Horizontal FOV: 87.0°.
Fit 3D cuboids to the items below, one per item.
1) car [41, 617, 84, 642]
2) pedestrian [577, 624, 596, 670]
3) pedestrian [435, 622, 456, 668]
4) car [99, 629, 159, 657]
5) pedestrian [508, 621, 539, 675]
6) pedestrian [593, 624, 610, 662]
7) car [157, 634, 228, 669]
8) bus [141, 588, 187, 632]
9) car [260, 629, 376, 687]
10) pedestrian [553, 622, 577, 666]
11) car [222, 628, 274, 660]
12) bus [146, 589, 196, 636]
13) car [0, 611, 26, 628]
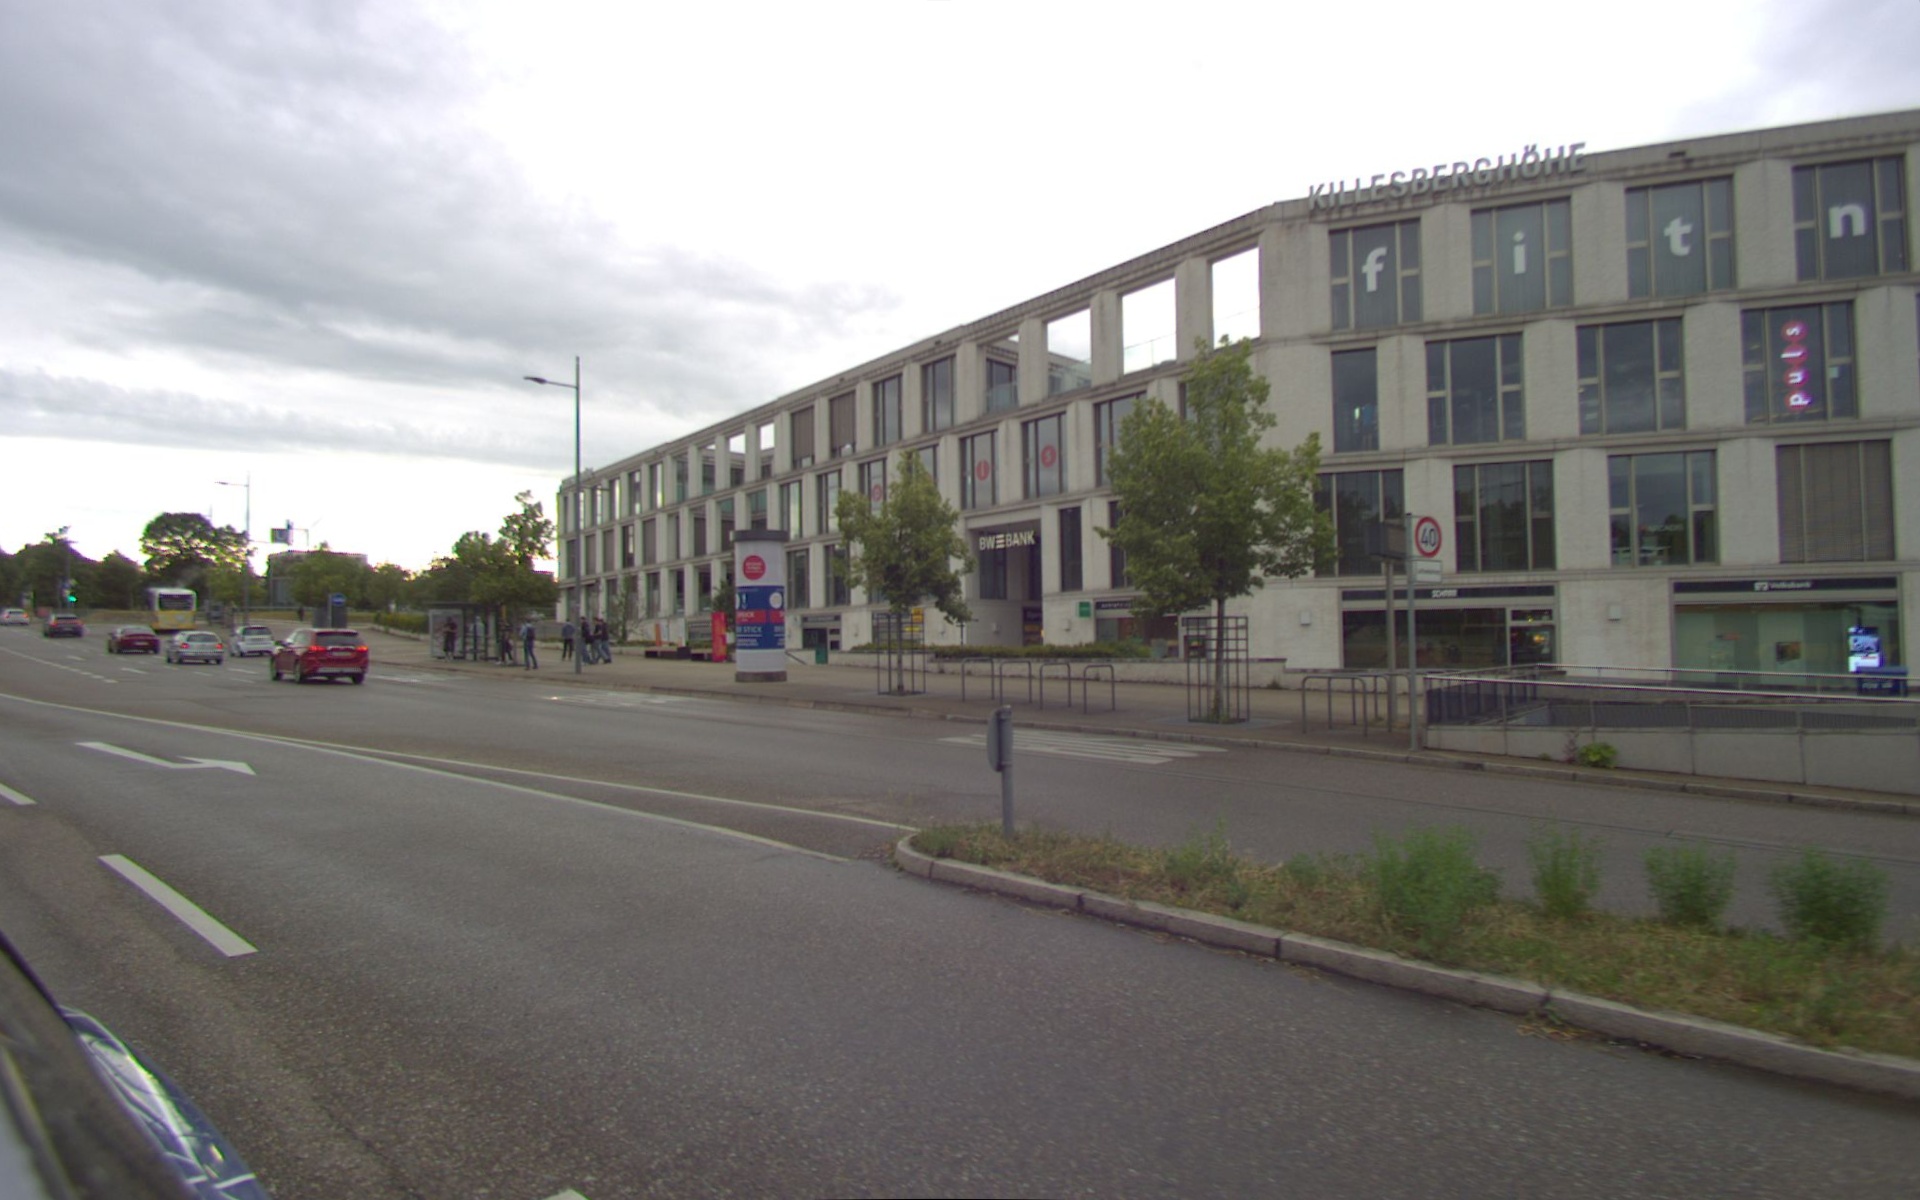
[{"bbox_3d":[-64.599,2.113,72.812,4.593,1.584,1.812,0,-4,43],"label":"car"},{"bbox_3d":[-14.245,1.784,38.571,0.621,1.738,0.421,-1,-2,43],"label":"pedestrian"},{"bbox_3d":[-21.205,1.855,41.689,0.755,1.856,0.502,-1,-2,42],"label":"pedestrian"},{"bbox_3d":[-44.471,2.282,54.131,4.465,1.427,1.812,-2,-5,43],"label":"car"},{"bbox_3d":[-15.272,1.667,35.390,0.747,1.856,0.744,-1,-2,45],"label":"pedestrian"},{"bbox_3d":[-14.132,1.694,39.891,0.510,1.462,0.421,-1,-2,43],"label":"pedestrian"},{"bbox_3d":[-33.607,2.229,44.258,3.878,1.427,1.743,-2,-5,43],"label":"car"},{"bbox_3d":[-68.172,0.771,86.563,2.786,3.498,9.991,0,1,-40],"label":"bus"},{"bbox_3d":[-20.139,1.787,31.653,4.737,1.696,1.833,-2,-5,43],"label":"car"},{"bbox_3d":[-16.424,1.816,42.072,0.857,1.775,0.591,-1,-2,45],"label":"pedestrian"},{"bbox_3d":[-36.641,2.256,52.071,2.972,1.519,1.596,0,0,43],"label":"car"},{"bbox_3d":[-62.159,0.900,79.663,2.786,3.498,8.245,0,1,-40],"label":"bus"},{"bbox_3d":[-85.347,1.735,90.782,4.175,1.441,1.853,0,-4,43],"label":"car"}]
